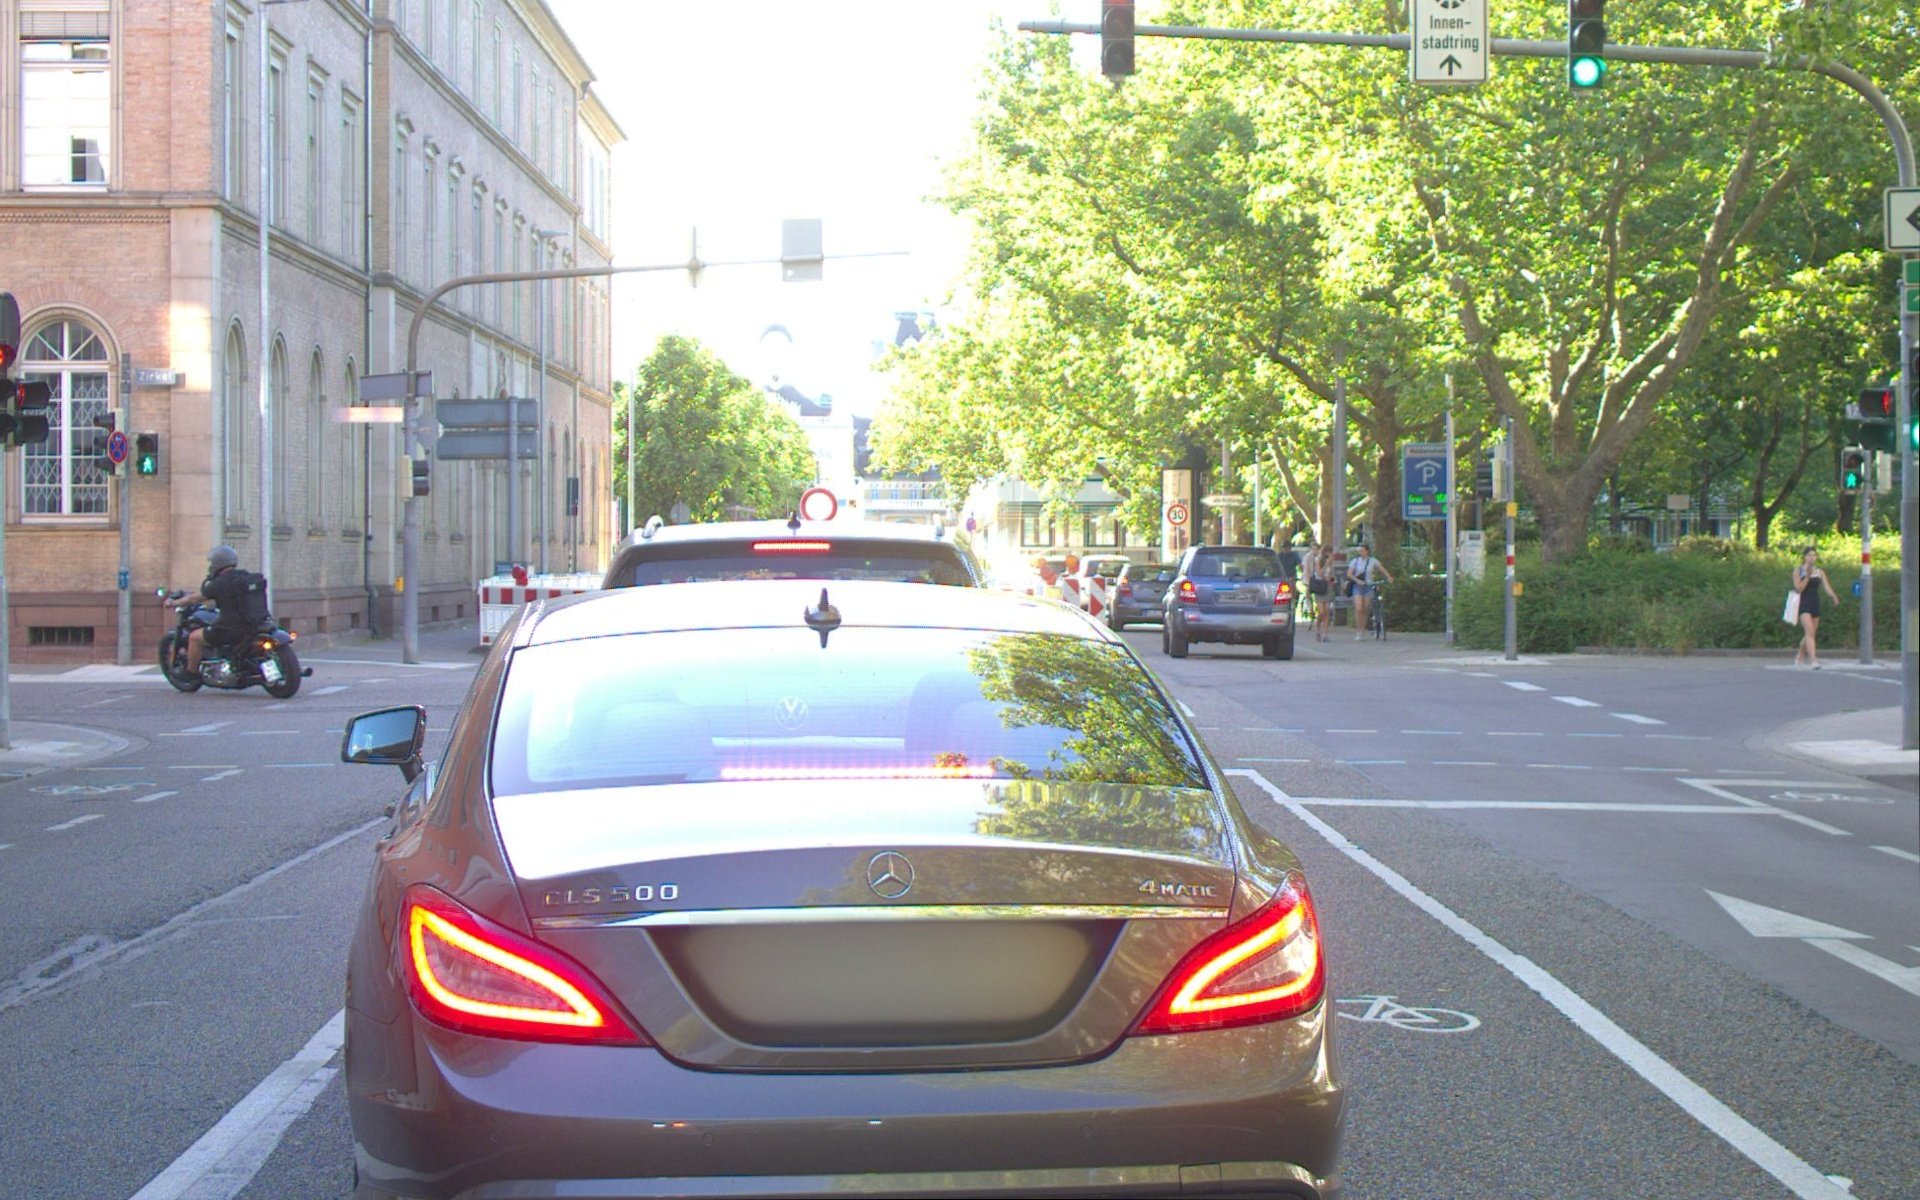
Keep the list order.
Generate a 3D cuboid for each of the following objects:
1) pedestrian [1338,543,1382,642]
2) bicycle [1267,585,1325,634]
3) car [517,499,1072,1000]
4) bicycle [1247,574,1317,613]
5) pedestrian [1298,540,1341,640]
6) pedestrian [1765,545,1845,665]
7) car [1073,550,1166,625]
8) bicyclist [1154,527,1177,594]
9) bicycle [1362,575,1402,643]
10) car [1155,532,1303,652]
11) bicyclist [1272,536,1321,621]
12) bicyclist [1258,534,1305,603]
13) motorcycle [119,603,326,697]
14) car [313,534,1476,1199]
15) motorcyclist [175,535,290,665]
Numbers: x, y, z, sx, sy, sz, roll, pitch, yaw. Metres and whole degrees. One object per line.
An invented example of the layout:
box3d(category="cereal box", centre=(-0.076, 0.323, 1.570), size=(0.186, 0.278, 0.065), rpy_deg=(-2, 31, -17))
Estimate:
box3d(category="pedestrian", centre=(7.189, -0.136, 61.787), size=(0.635, 1.754, 0.699), rpy_deg=(1, 0, -4))
box3d(category="bicycle", centre=(6.513, 0.174, 66.800), size=(0.828, 0.921, 2.617), rpy_deg=(1, 1, -1))
box3d(category="car", centre=(-0.581, 0.471, 13.605), size=(1.861, 1.677, 4.000), rpy_deg=(1, 1, -1))
box3d(category="bicycle", centre=(6.605, -0.136, 70.444), size=(0.724, 0.788, 1.925), rpy_deg=(1, 1, 28))
box3d(category="pedestrian", centre=(6.485, -0.178, 61.979), size=(0.635, 1.791, 0.699), rpy_deg=(1, 0, -4))
box3d(category="pedestrian", centre=(11.011, 0.061, 44.839), size=(0.635, 1.540, 0.910), rpy_deg=(1, 0, -15))
box3d(category="car", centre=(3.345, -0.282, 72.666), size=(1.704, 1.514, 4.000), rpy_deg=(1, 1, -1))
box3d(category="bicyclist", centre=(6.278, -1.206, 105.001), size=(0.594, 2.032, 0.566), rpy_deg=(1, 0, -4))
box3d(category="bicycle", centre=(7.583, 0.152, 61.796), size=(0.482, 1.198, 1.606), rpy_deg=(1, 0, -1))
box3d(category="car", centre=(4.090, -0.153, 52.826), size=(1.861, 1.758, 4.482), rpy_deg=(1, 1, -1))
box3d(category="bicyclist", centre=(6.519, -0.417, 66.679), size=(0.825, 1.612, 0.957), rpy_deg=(1, 0, -1))
box3d(category="bicyclist", centre=(6.593, -0.645, 70.421), size=(0.734, 1.393, 0.697), rpy_deg=(1, 0, 28))
box3d(category="motorcycle", centre=(-7.472, 0.492, 34.813), size=(2.056, 0.889, 0.754), rpy_deg=(1, 1, 29))
box3d(category="car", centre=(-0.361, 0.625, 7.475), size=(1.861, 1.514, 4.001), rpy_deg=(0, 1, -8))
box3d(category="motorcyclist", centre=(-7.348, -0.002, 34.738), size=(0.801, 1.290, 0.788), rpy_deg=(1, 0, 28))
